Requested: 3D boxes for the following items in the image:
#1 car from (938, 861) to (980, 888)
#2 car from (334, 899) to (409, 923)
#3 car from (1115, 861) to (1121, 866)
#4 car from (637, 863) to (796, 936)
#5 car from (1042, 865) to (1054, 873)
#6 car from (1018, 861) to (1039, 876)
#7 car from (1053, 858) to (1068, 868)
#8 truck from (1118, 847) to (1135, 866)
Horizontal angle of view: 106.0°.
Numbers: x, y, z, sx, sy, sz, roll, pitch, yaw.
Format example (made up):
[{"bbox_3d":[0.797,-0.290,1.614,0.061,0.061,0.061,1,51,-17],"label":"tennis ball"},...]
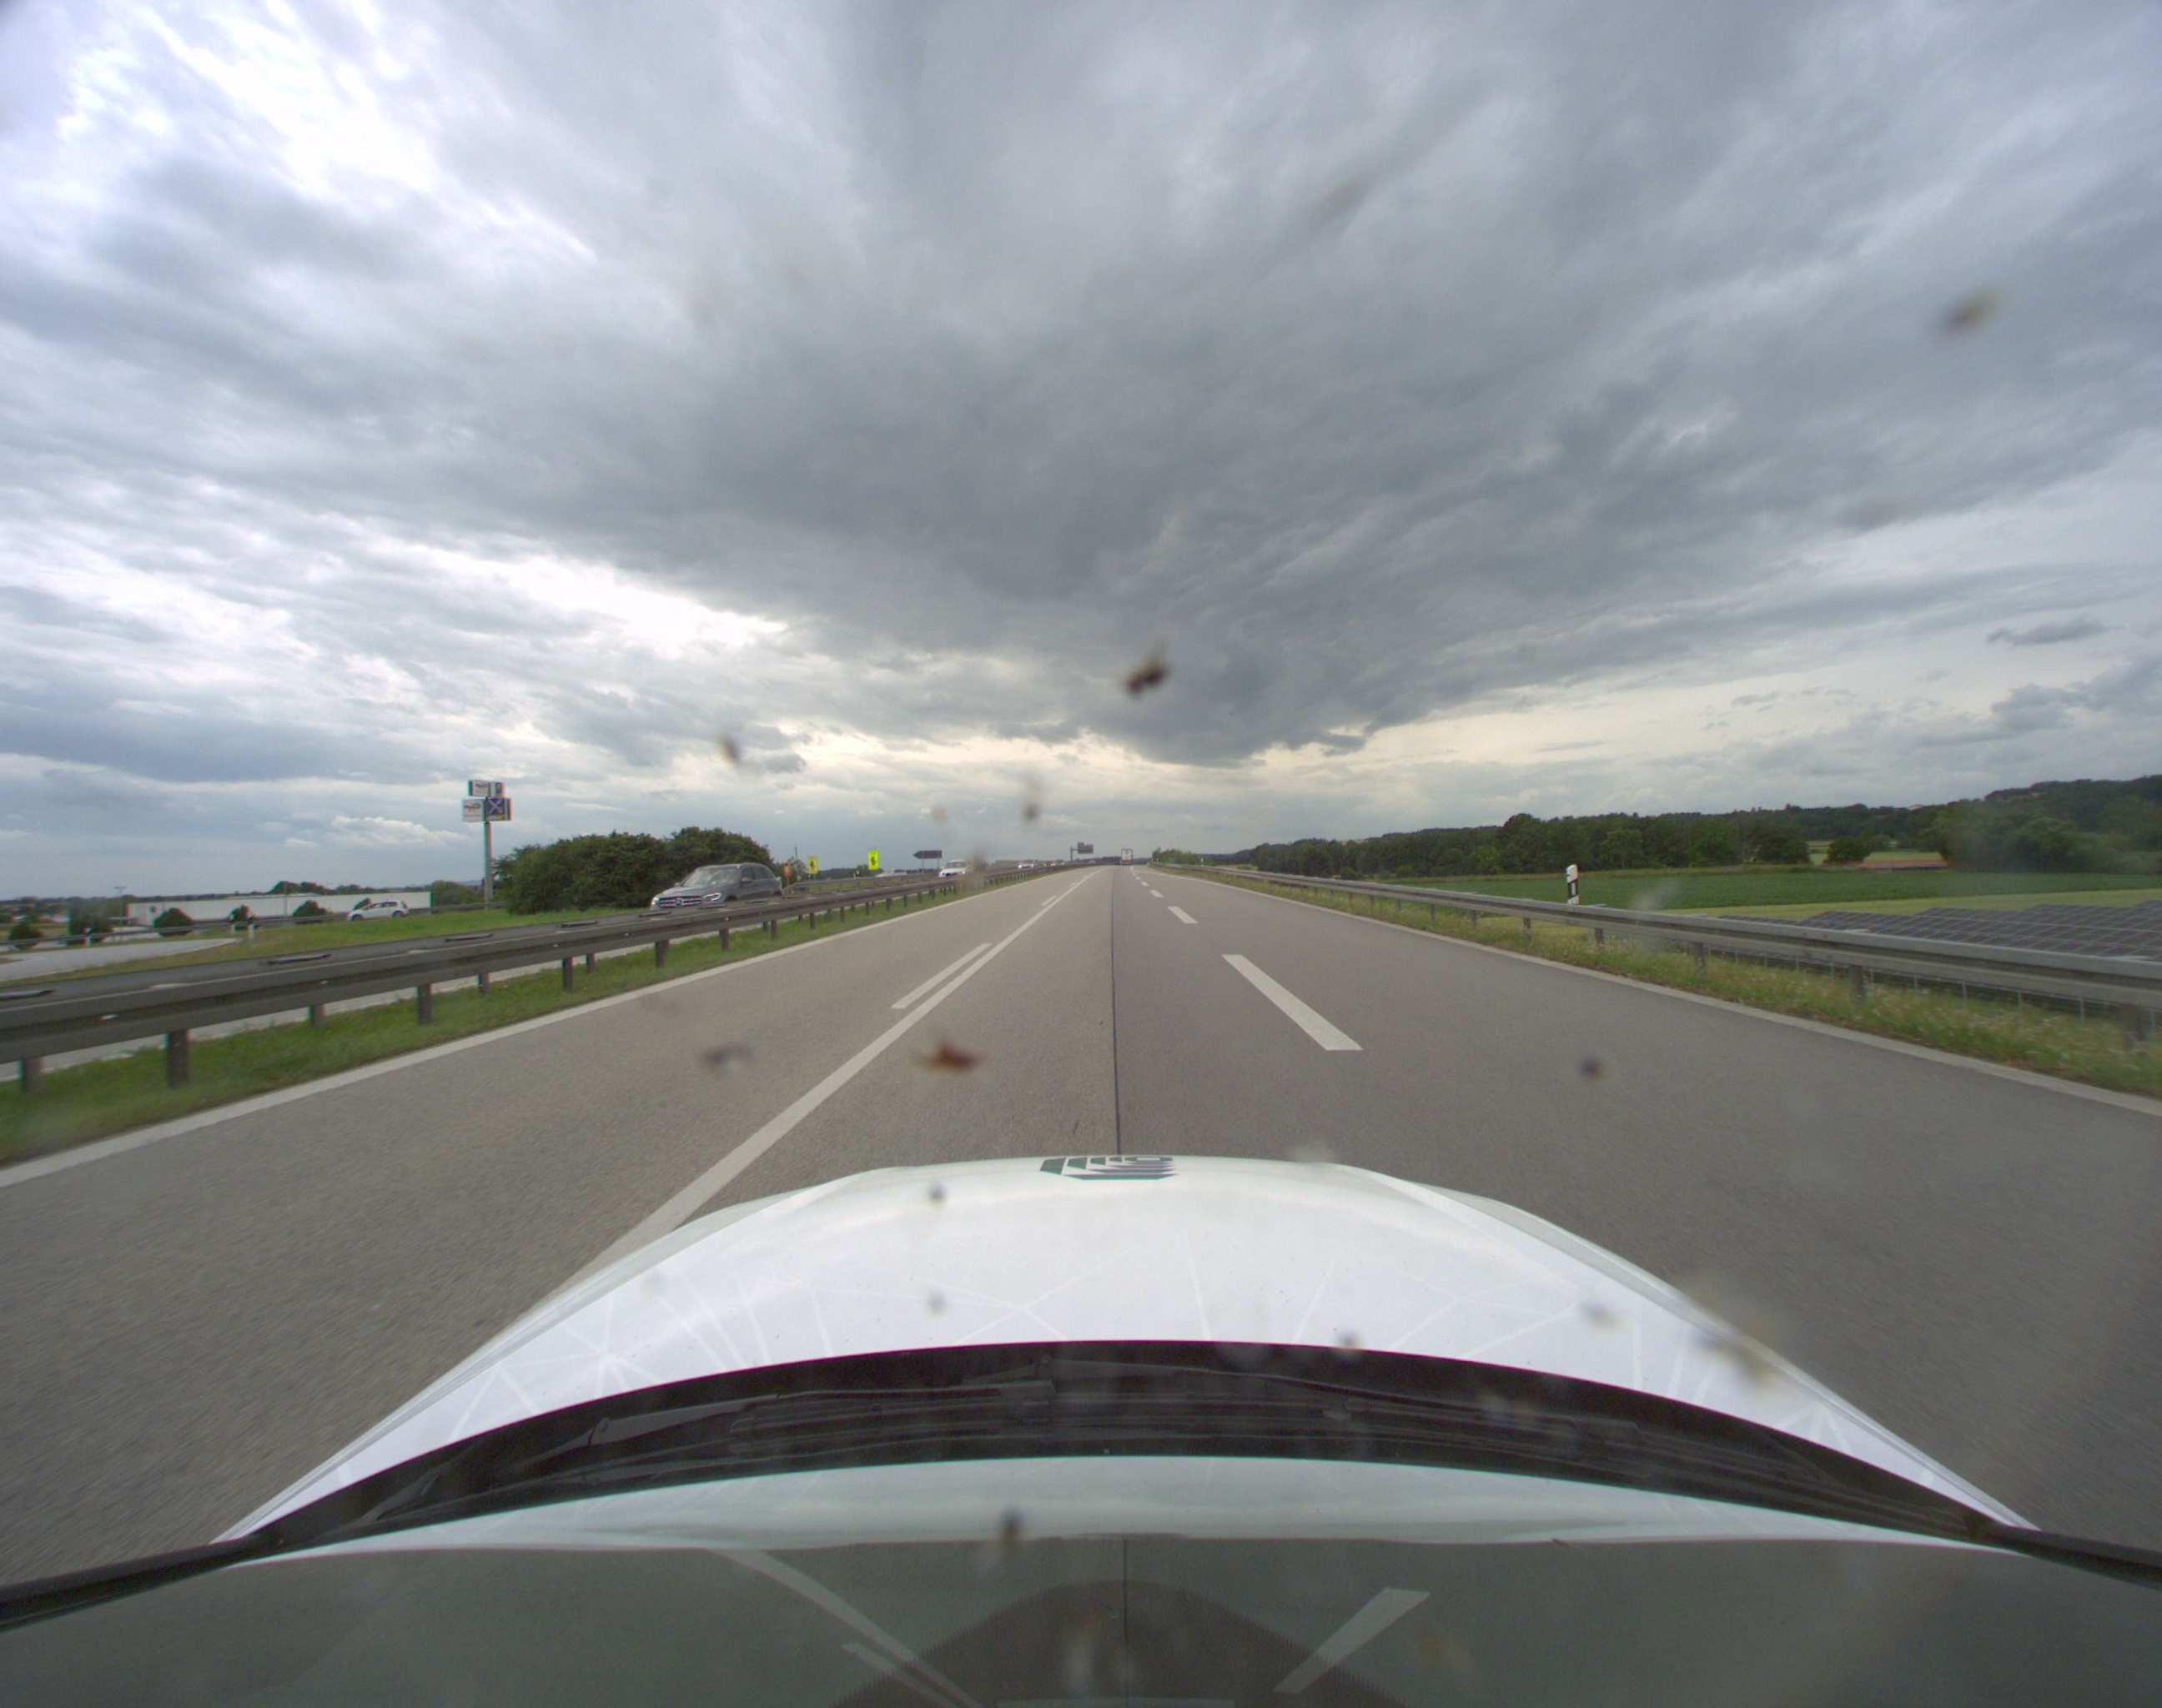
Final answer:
[{"bbox_3d":[-8.013,1.339,54.020,1.846,1.588,4.819,-3,0,2],"label":"car"},{"bbox_3d":[-55.594,4.468,63.933,4.012,1.300,1.869,-5,4,-29],"label":"car"},{"bbox_3d":[11.351,3.022,250.778,1.986,1.420,4.002,-1,0,2],"label":"car"},{"bbox_3d":[-9.479,1.106,21.686,1.884,1.588,4.764,-3,0,2],"label":"car"},{"bbox_3d":[-6.099,2.805,151.443,1.792,1.393,4.003,-1,0,3],"label":"car"},{"bbox_3d":[-6.075,1.716,94.701,1.884,1.588,4.764,-3,0,2],"label":"car"},{"bbox_3d":[-3.471,1.545,139.603,2.127,1.588,5.002,-3,0,2],"label":"car"},{"bbox_3d":[11.883,0.707,211.240,3.655,4.413,16.360,-2,-2,5],"label":"truck"}]
